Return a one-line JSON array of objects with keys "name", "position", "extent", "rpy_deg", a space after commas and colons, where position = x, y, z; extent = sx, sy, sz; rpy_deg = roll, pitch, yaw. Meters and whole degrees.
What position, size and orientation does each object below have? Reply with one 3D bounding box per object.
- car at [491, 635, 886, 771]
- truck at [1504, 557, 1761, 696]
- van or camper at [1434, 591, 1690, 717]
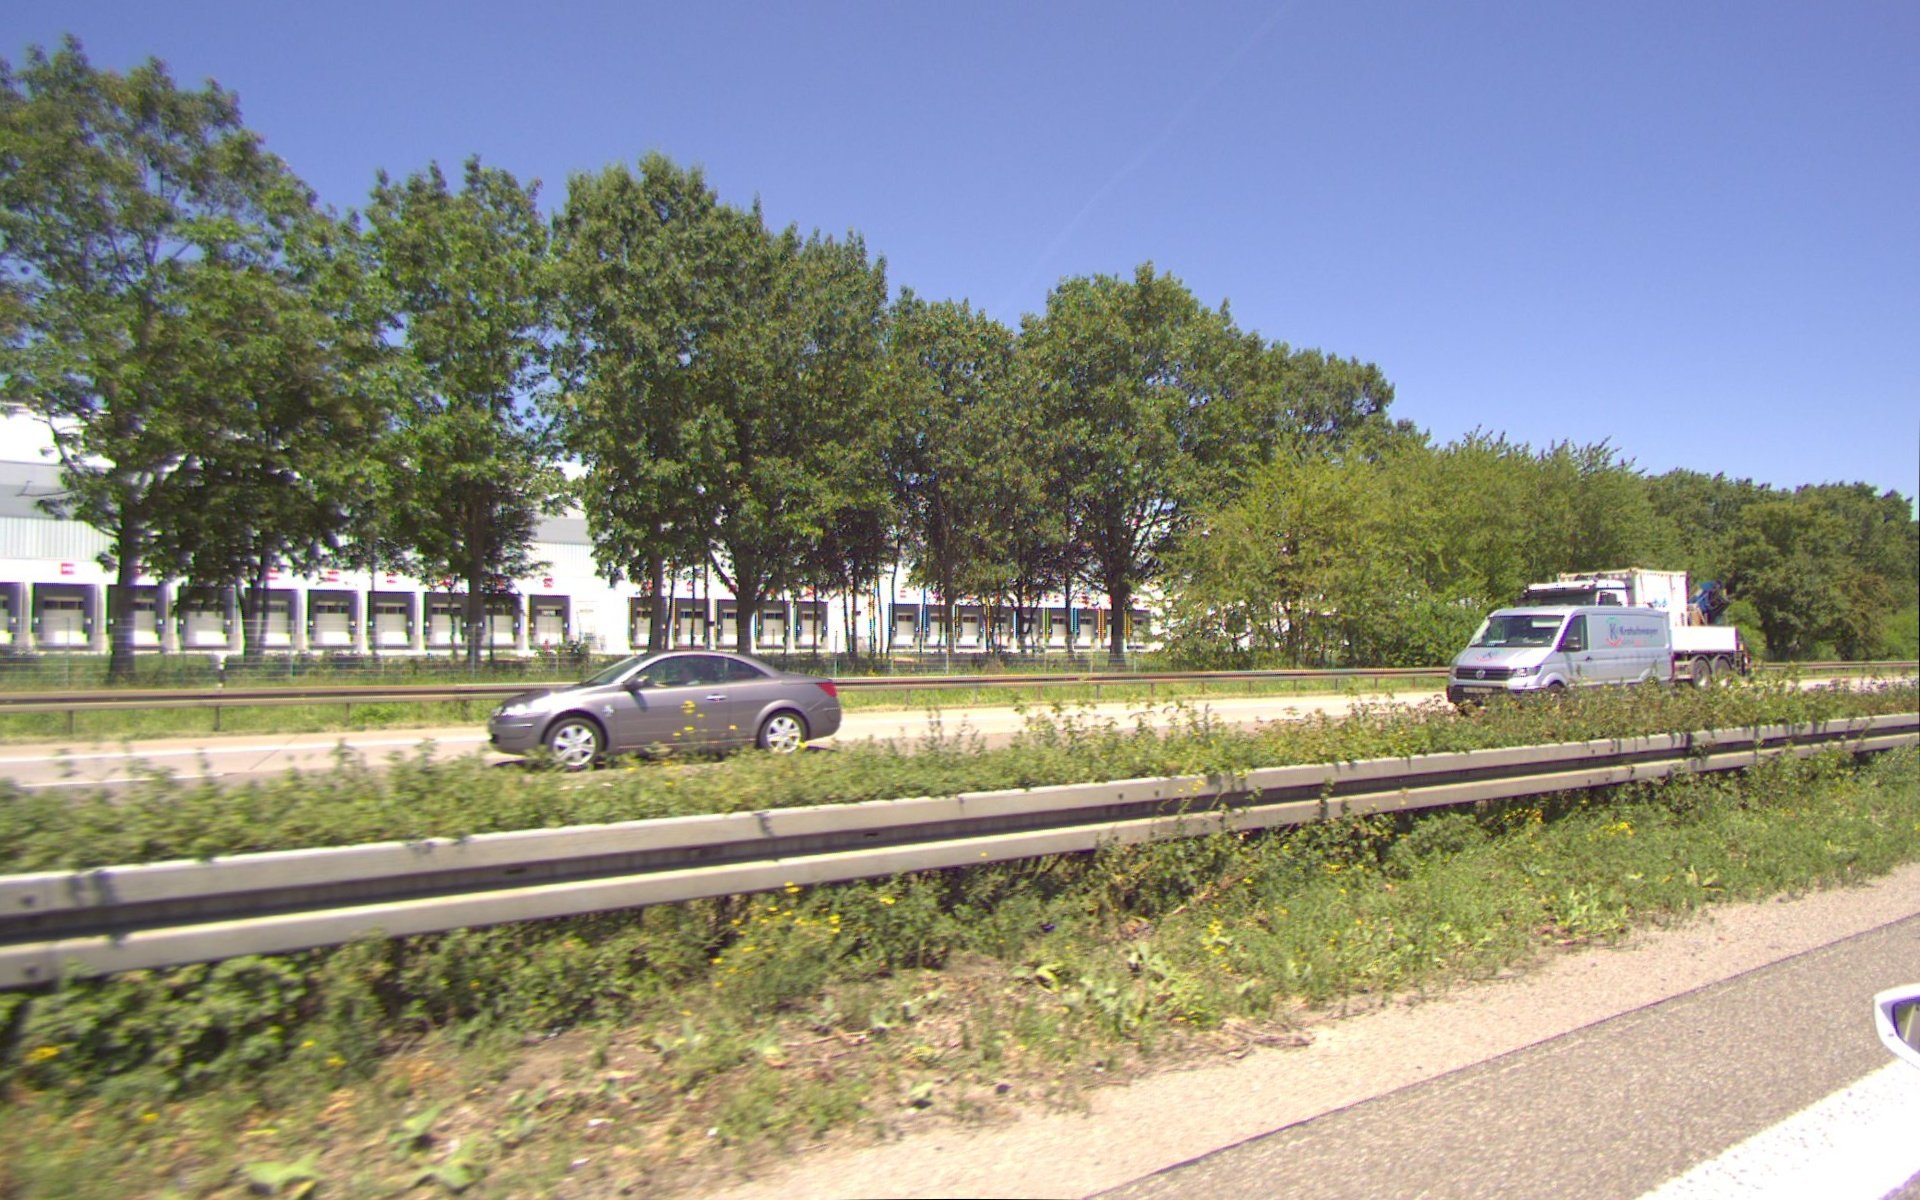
[{"name": "car", "position": [-3.374, 1.193, 12.810], "extent": [4.547, 1.457, 1.848], "rpy_deg": [1, -3, -32]}, {"name": "truck", "position": [21.028, 0.846, 31.172], "extent": [9.749, 3.811, 2.593], "rpy_deg": [1, -2, -30]}, {"name": "van or camper", "position": [12.968, 1.118, 21.520], "extent": [6.004, 2.384, 2.049], "rpy_deg": [1, -3, -30]}]
